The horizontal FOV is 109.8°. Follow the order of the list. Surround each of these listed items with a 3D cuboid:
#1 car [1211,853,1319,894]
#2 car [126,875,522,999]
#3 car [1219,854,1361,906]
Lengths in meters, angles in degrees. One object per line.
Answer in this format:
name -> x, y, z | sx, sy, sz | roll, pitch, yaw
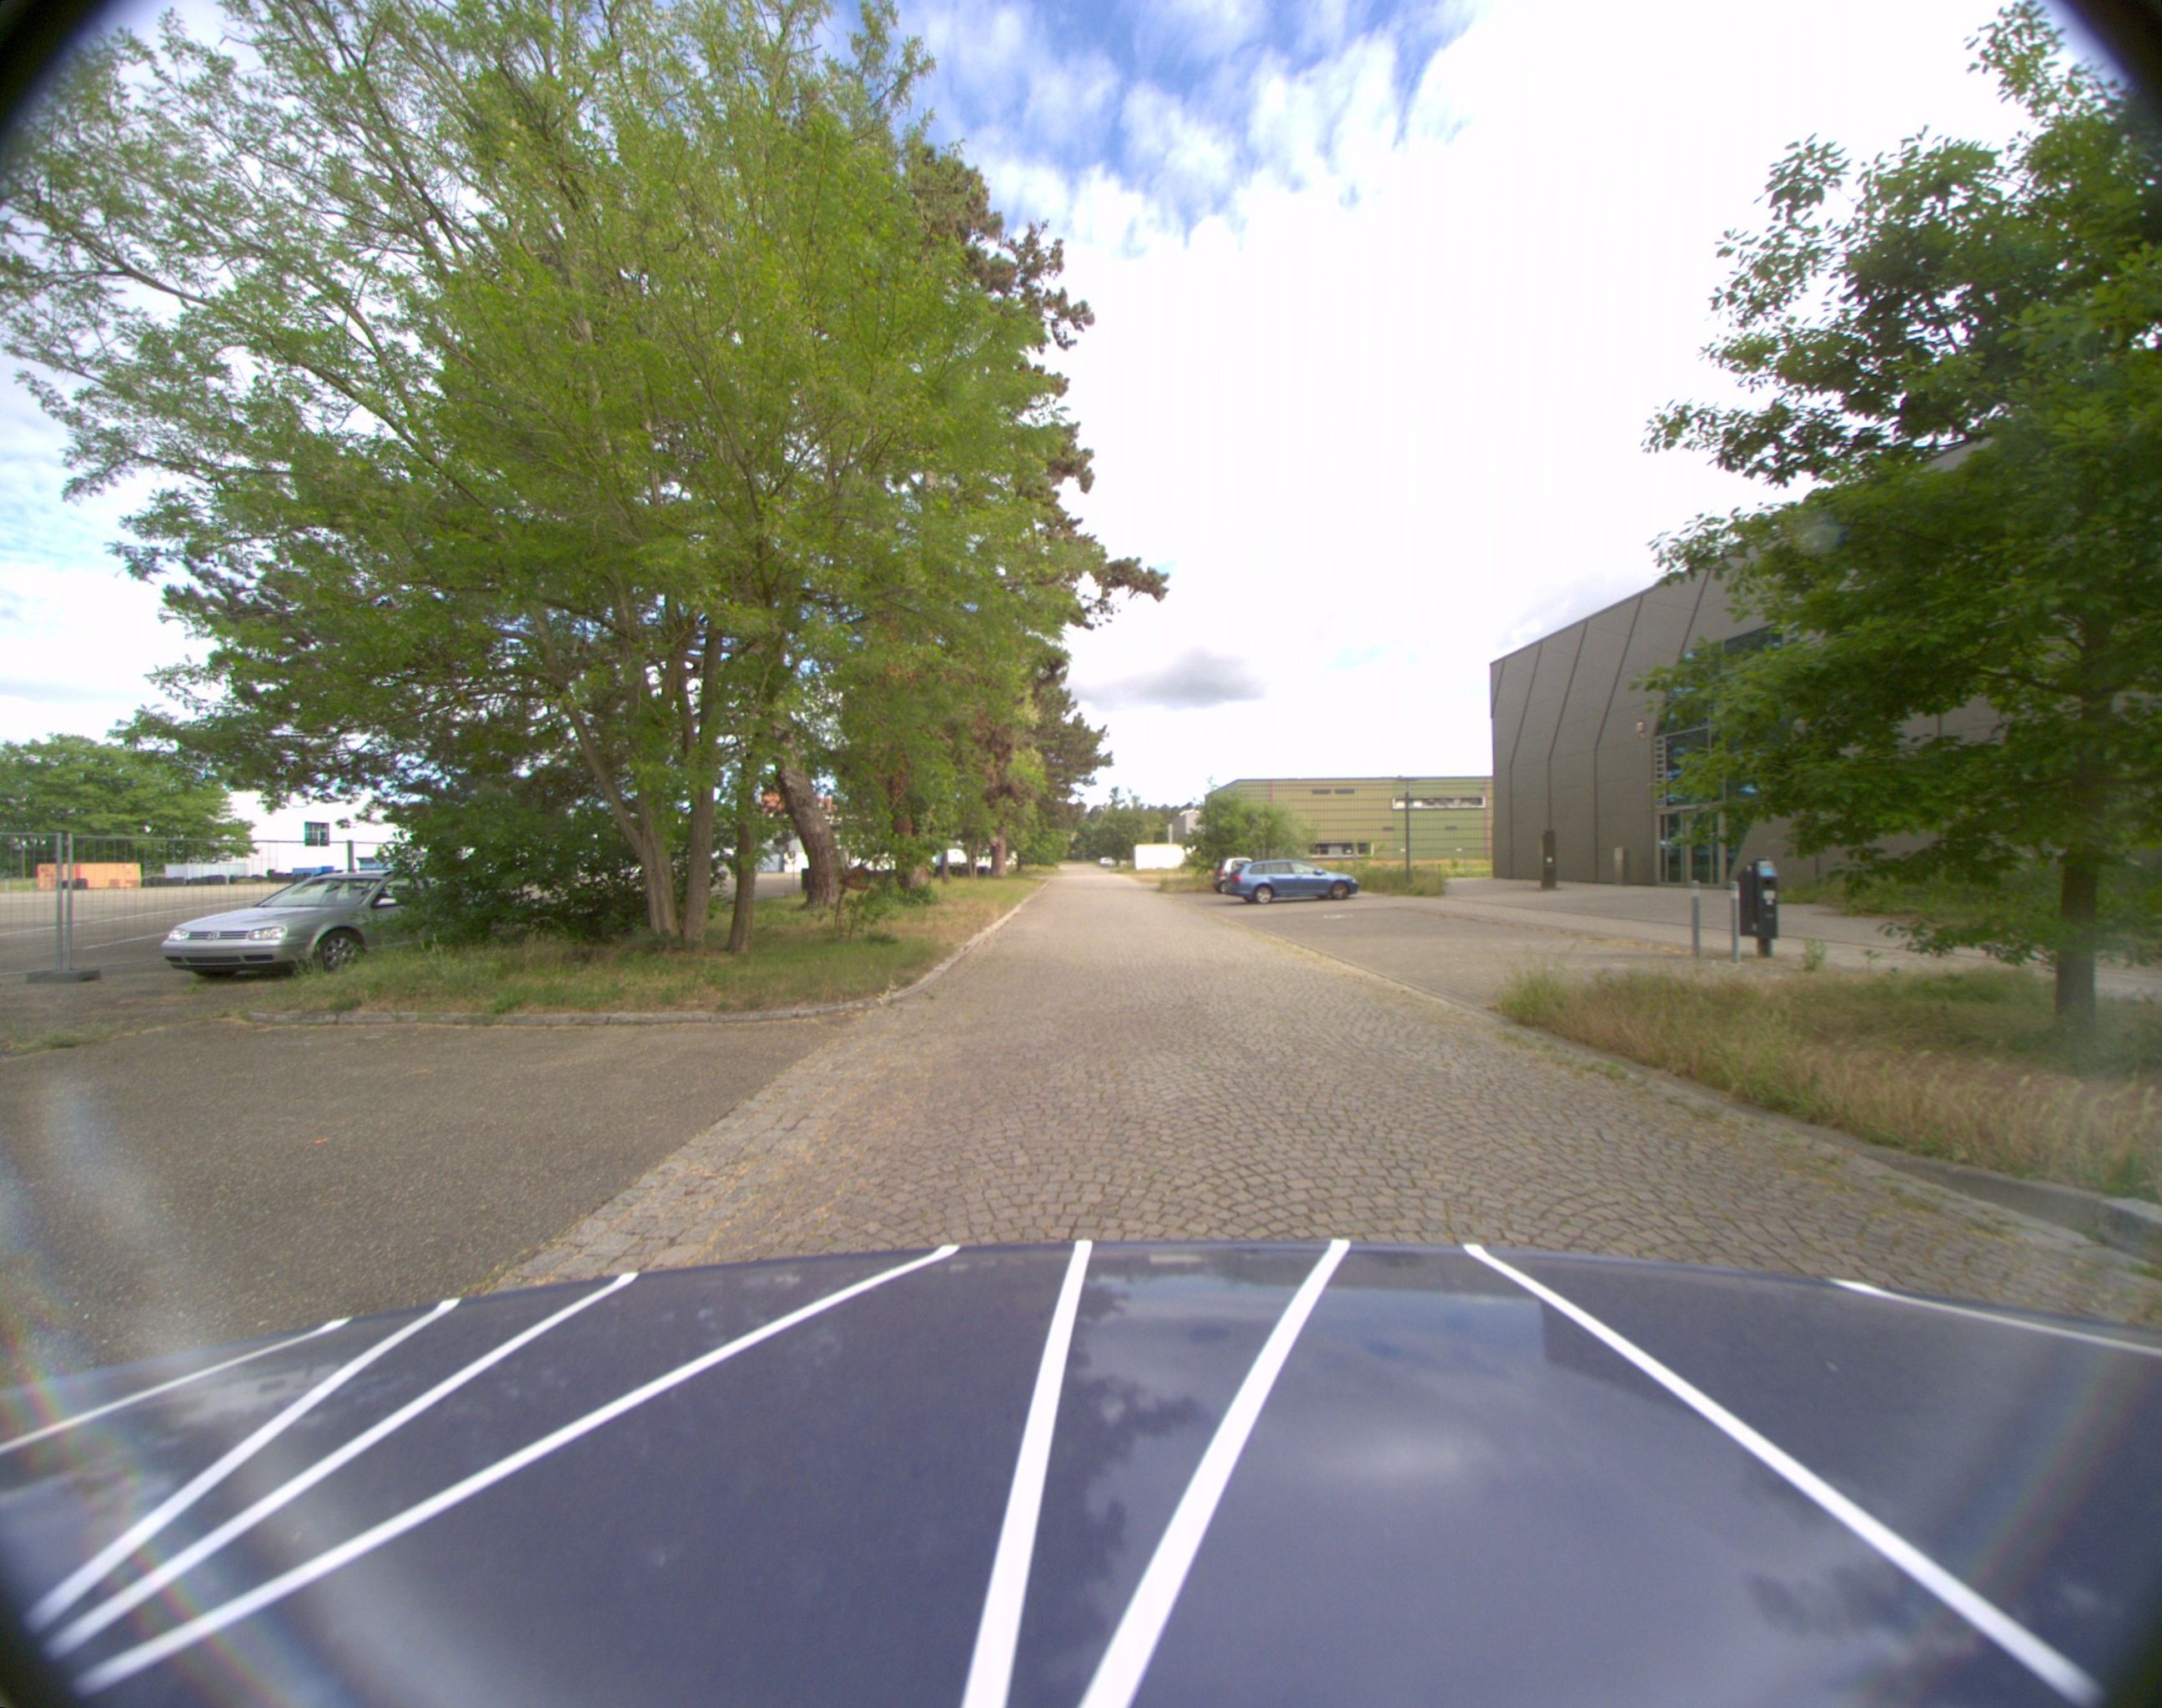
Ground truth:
car -> 8.095, 0.841, 33.752 | 4.401, 1.537, 1.842 | -3, 0, 6
car -> -11.157, 1.111, 11.769 | 1.759, 1.440, 4.327 | -1, 0, 1
car -> 7.192, 0.879, 26.409 | 4.404, 1.501, 1.716 | -3, 0, -3
